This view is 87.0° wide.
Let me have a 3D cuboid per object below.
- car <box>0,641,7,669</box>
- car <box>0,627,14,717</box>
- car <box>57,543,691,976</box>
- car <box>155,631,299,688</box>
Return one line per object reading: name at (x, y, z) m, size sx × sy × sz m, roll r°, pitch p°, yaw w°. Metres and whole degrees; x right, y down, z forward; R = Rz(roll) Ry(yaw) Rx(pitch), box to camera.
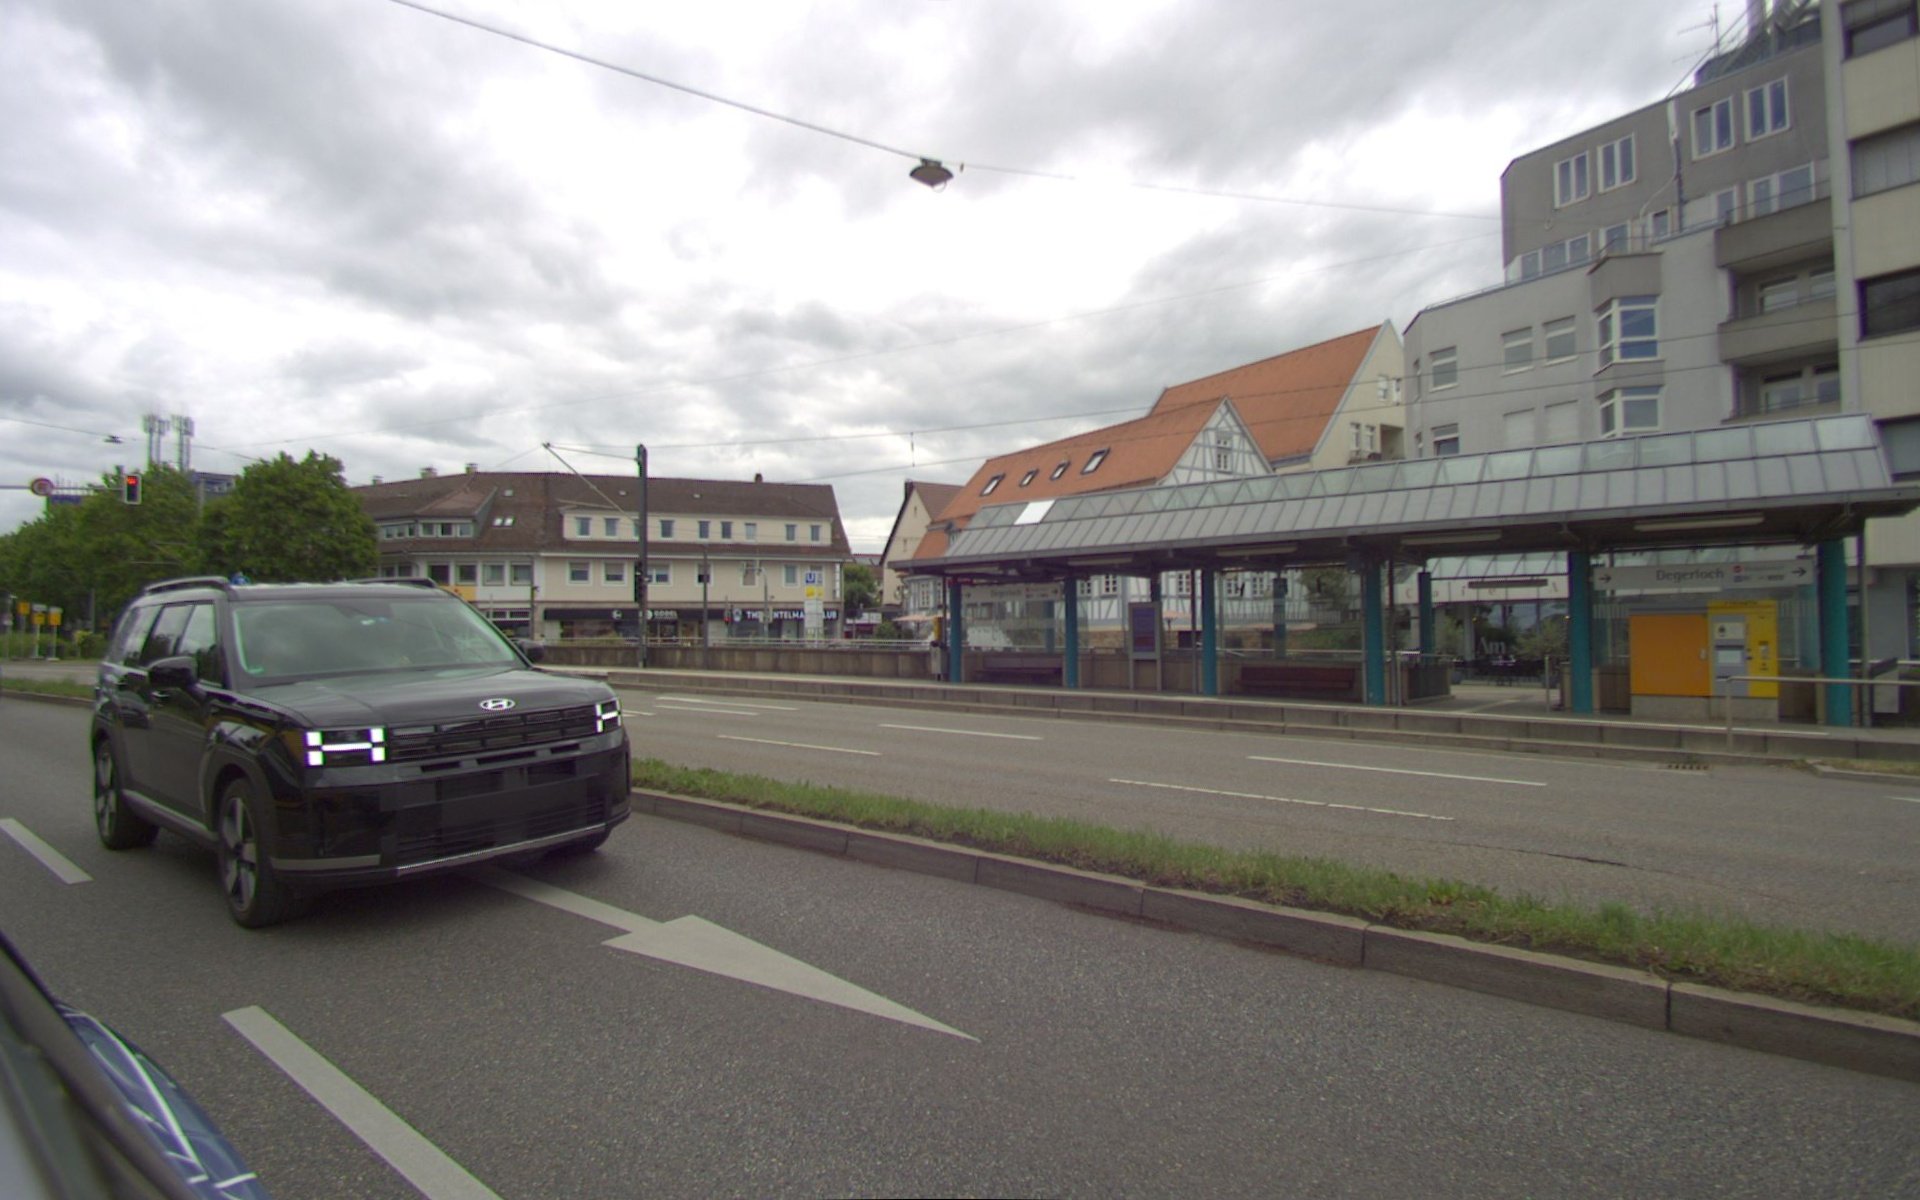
car at (-48.596, 2.663, 48.184) m, size 4.748 × 1.367 × 1.998 m, roll -1°, pitch -2°, yaw 4°
car at (-20.056, 1.391, 19.413) m, size 4.384 × 1.662 × 1.976 m, roll -2°, pitch -1°, yaw 36°
car at (-3.910, 0.700, 6.351) m, size 4.673 × 1.764 × 1.903 m, roll -2°, pitch -1°, yaw 39°
car at (-21.229, 1.692, 29.266) m, size 4.634 × 1.524 × 1.976 m, roll -2°, pitch -3°, yaw 35°
